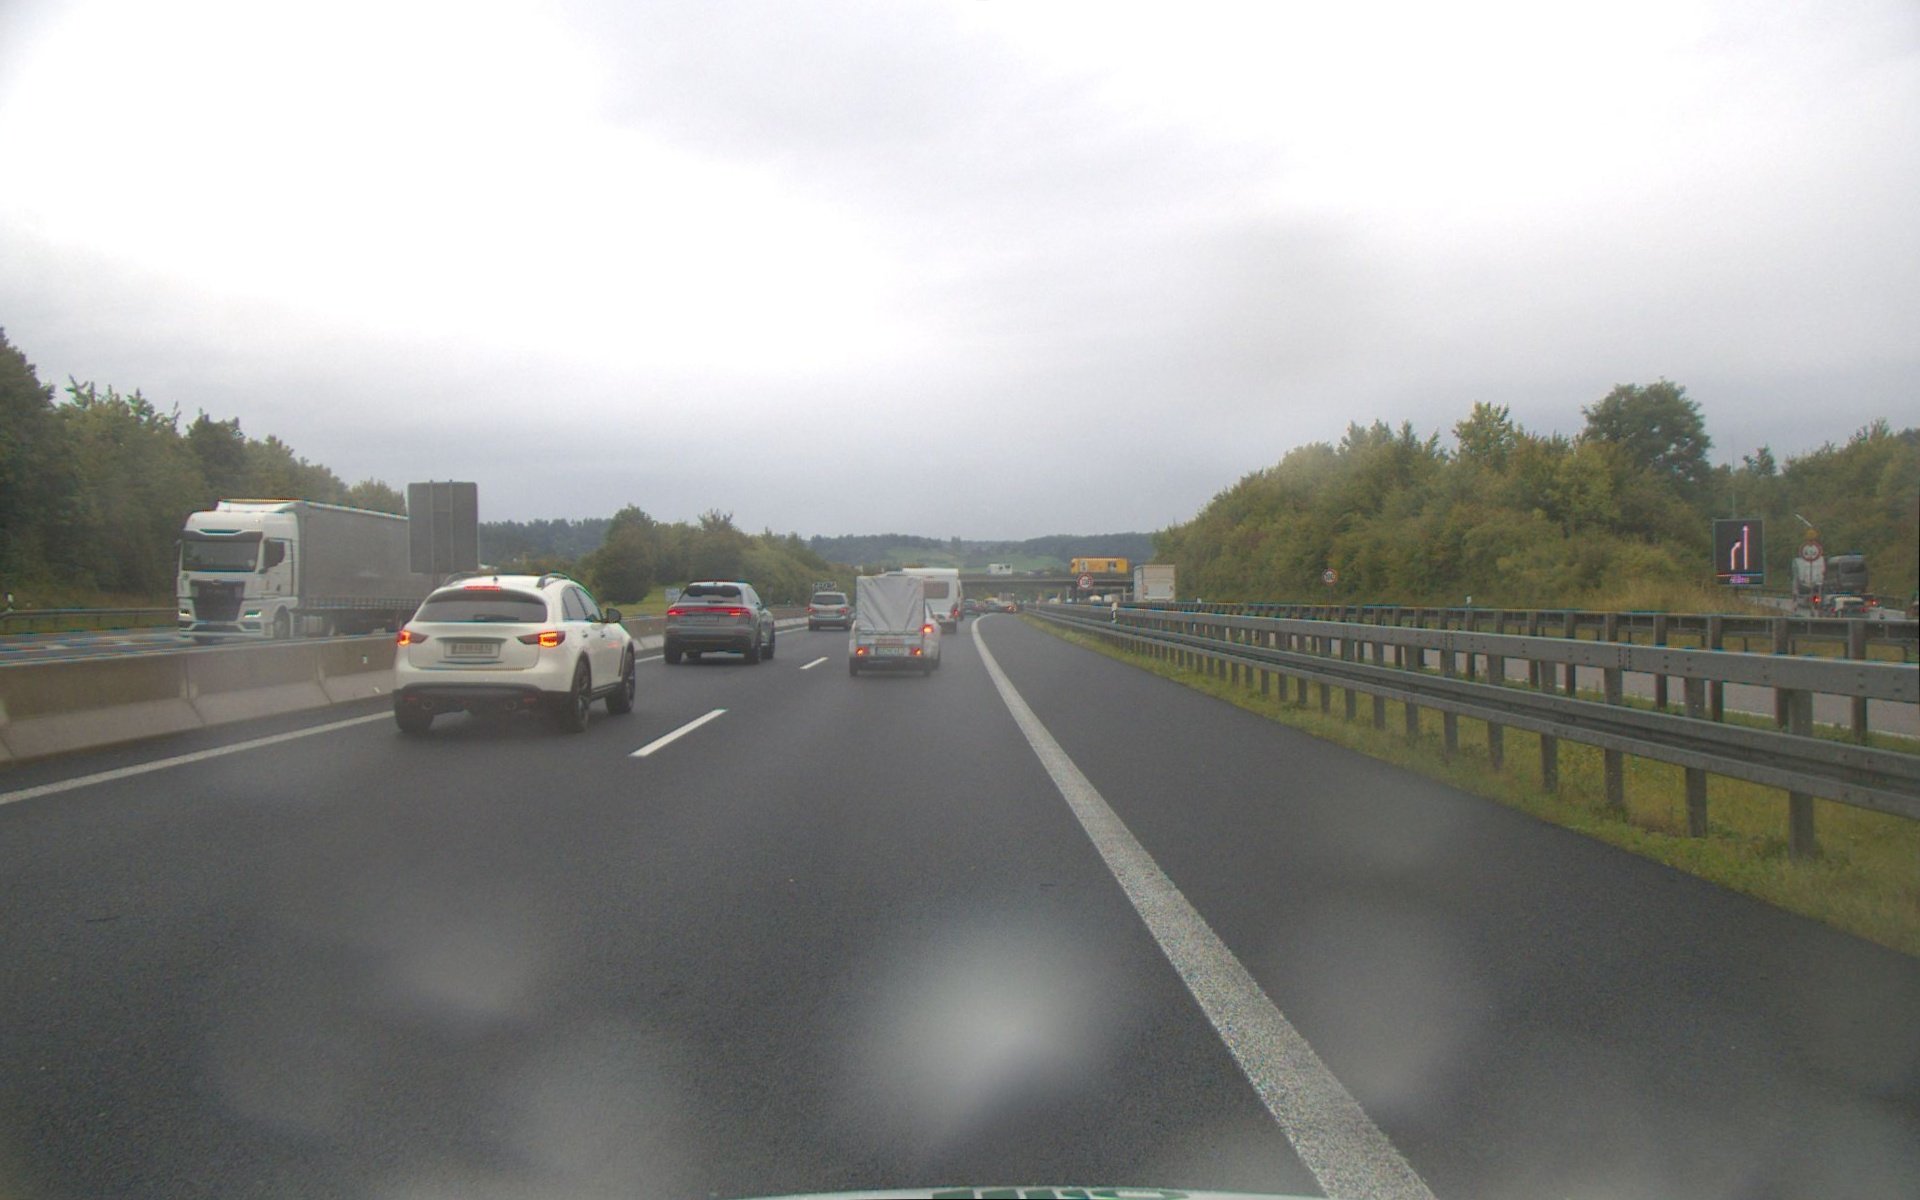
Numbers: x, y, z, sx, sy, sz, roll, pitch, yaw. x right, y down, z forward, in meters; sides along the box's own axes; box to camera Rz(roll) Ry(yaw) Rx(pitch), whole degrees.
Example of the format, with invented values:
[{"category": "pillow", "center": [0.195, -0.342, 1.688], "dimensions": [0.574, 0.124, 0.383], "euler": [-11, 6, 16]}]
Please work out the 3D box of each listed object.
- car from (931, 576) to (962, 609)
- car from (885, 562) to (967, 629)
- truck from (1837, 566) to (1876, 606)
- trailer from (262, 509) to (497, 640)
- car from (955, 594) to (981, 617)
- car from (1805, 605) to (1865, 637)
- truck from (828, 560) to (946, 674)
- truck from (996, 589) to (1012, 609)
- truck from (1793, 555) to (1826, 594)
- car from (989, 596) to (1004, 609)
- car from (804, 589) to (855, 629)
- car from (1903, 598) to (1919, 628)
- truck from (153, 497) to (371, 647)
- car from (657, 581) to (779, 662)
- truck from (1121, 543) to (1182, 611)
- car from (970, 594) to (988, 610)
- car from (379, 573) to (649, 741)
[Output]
[{"category": "car", "center": [-0.901, -0.464, 108.936], "dimensions": [1.953, 2.071, 4.150], "euler": [1, 0, -2]}, {"category": "car", "center": [-1.325, -0.192, 68.302], "dimensions": [2.953, 2.662, 6.077], "euler": [0, 0, 3]}, {"category": "truck", "center": [63.776, -1.002, 117.658], "dimensions": [2.393, 2.752, 5.560], "euler": [0, 0, 29]}, {"category": "trailer", "center": [-20.340, -0.837, 59.325], "dimensions": [3.192, 4.155, 13.848], "euler": [0, 0, 2]}, {"category": "car", "center": [0.682, 0.445, 135.828], "dimensions": [1.952, 1.780, 4.001], "euler": [1, 0, 2]}, {"category": "car", "center": [42.548, 1.009, 80.534], "dimensions": [1.820, 1.473, 4.160], "euler": [0, 0, 17]}, {"category": "truck", "center": [-1.321, 0.287, 33.025], "dimensions": [1.977, 2.020, 7.213], "euler": [0, 0, 0]}, {"category": "truck", "center": [6.921, -0.169, 260.023], "dimensions": [2.230, 3.136, 7.249], "euler": [1, 0, 3]}, {"category": "truck", "center": [65.873, -1.908, 128.158], "dimensions": [2.201, 2.929, 8.162], "euler": [0, 0, 28]}, {"category": "car", "center": [5.131, 0.414, 233.145], "dimensions": [1.952, 1.780, 4.002], "euler": [1, 0, 3]}, {"category": "car", "center": [-5.551, 0.371, 70.569], "dimensions": [1.861, 1.641, 4.017], "euler": [0, 0, 0]}, {"category": "car", "center": [47.541, 0.626, 81.214], "dimensions": [1.823, 1.473, 4.154], "euler": [0, 0, 26]}, {"category": "truck", "center": [-20.617, -0.788, 49.451], "dimensions": [3.192, 4.155, 7.442], "euler": [0, 0, 2]}, {"category": "car", "center": [-5.216, 0.443, 36.278], "dimensions": [2.130, 1.660, 4.499], "euler": [0, 0, -2]}, {"category": "truck", "center": [15.078, -1.793, 130.821], "dimensions": [4.008, 5.193, 10.466], "euler": [0, 0, 2]}, {"category": "car", "center": [2.254, 0.236, 191.803], "dimensions": [1.952, 1.780, 4.001], "euler": [1, 0, 2]}, {"category": "car", "center": [-4.844, 0.564, 18.653], "dimensions": [1.936, 1.668, 4.499], "euler": [0, 0, -2]}]
